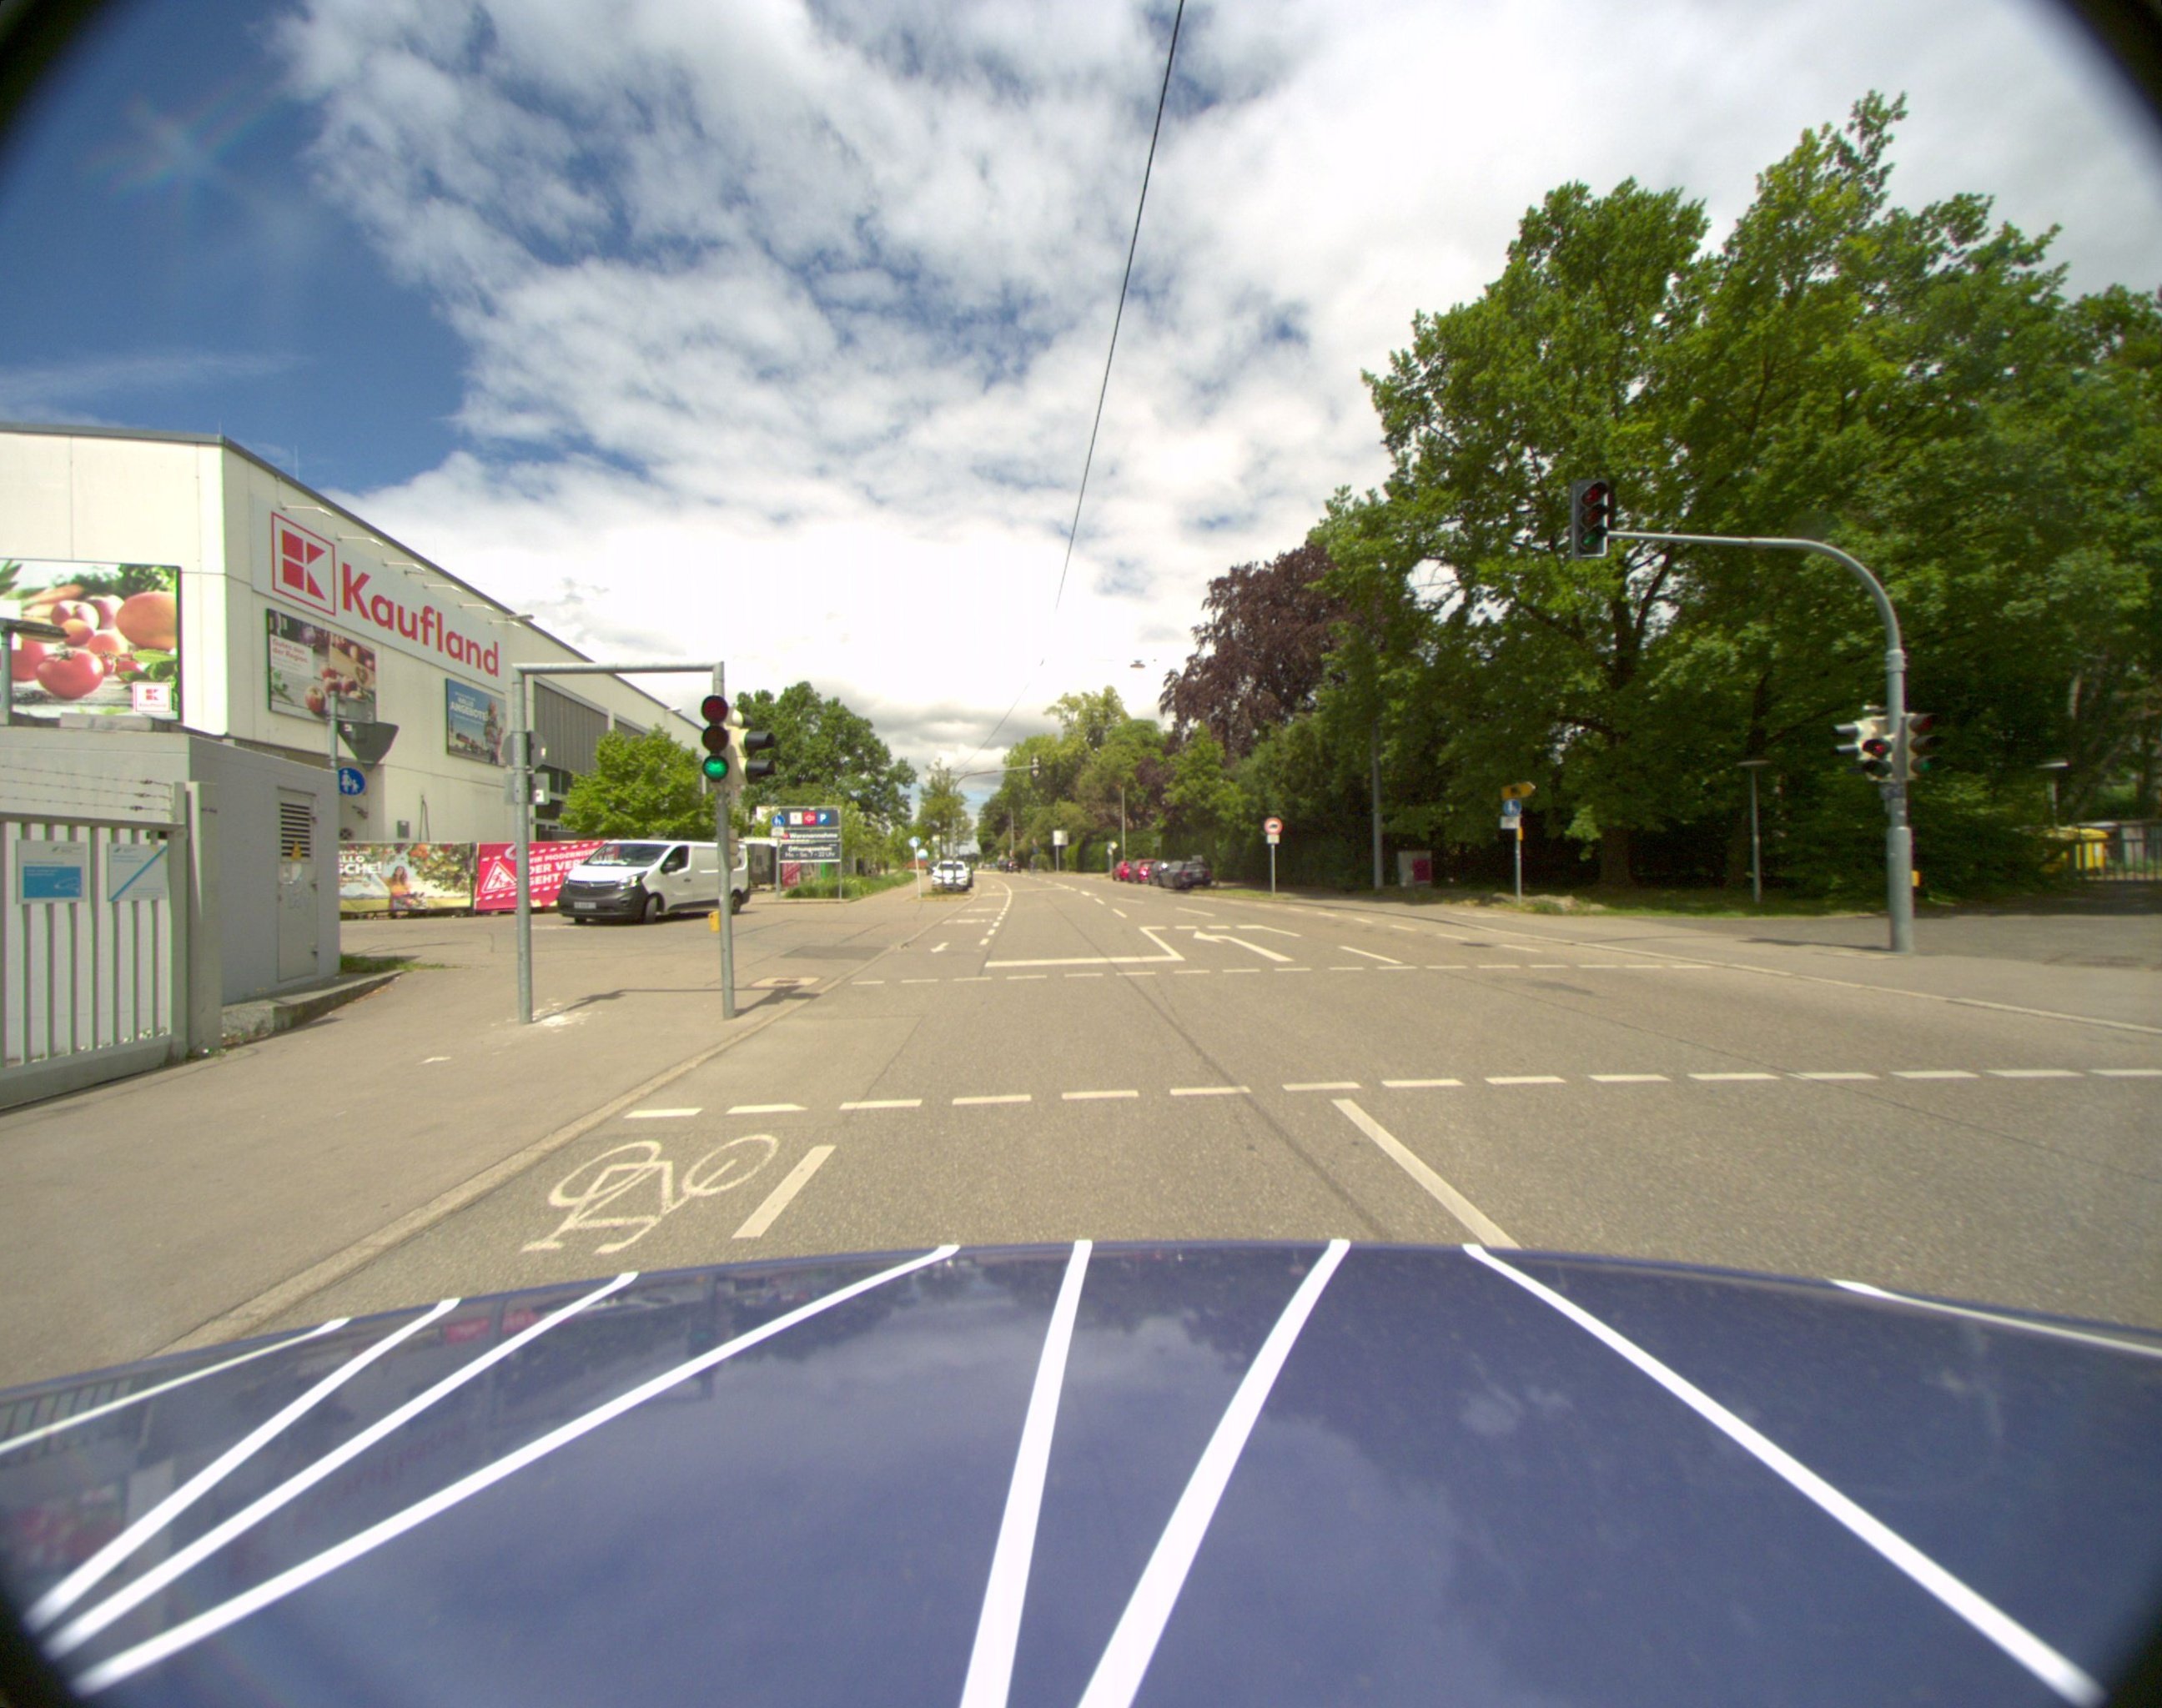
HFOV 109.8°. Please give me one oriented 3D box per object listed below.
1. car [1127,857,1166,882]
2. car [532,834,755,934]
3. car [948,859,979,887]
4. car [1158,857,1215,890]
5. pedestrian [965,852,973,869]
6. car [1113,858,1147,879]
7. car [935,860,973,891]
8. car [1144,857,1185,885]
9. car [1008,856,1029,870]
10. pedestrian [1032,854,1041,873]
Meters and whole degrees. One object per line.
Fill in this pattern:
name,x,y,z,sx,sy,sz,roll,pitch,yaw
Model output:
car,4.066,0.948,47.801,1.524,1.469,3.321,-3,0,-11
car,-10.265,0.643,18.491,1.998,2.011,5.353,2,0,4
car,-7.050,1.093,45.781,1.603,1.552,3.788,1,0,-6
car,5.302,0.948,38.684,1.688,1.407,4.398,-2,1,-8
pedestrian,-12.799,0.734,86.978,0.700,2.002,0.724,-2,1,2
car,3.356,0.983,52.955,1.531,1.358,3.372,-3,1,-11
car,-6.663,1.086,40.145,1.796,1.522,3.918,1,0,-7
car,4.764,0.945,43.505,1.559,1.404,3.191,-2,1,-8
car,-7.298,0.999,88.204,1.852,1.546,3.946,-3,0,-12
pedestrian,-4.026,0.892,68.500,0.554,1.663,0.587,-3,1,-27
